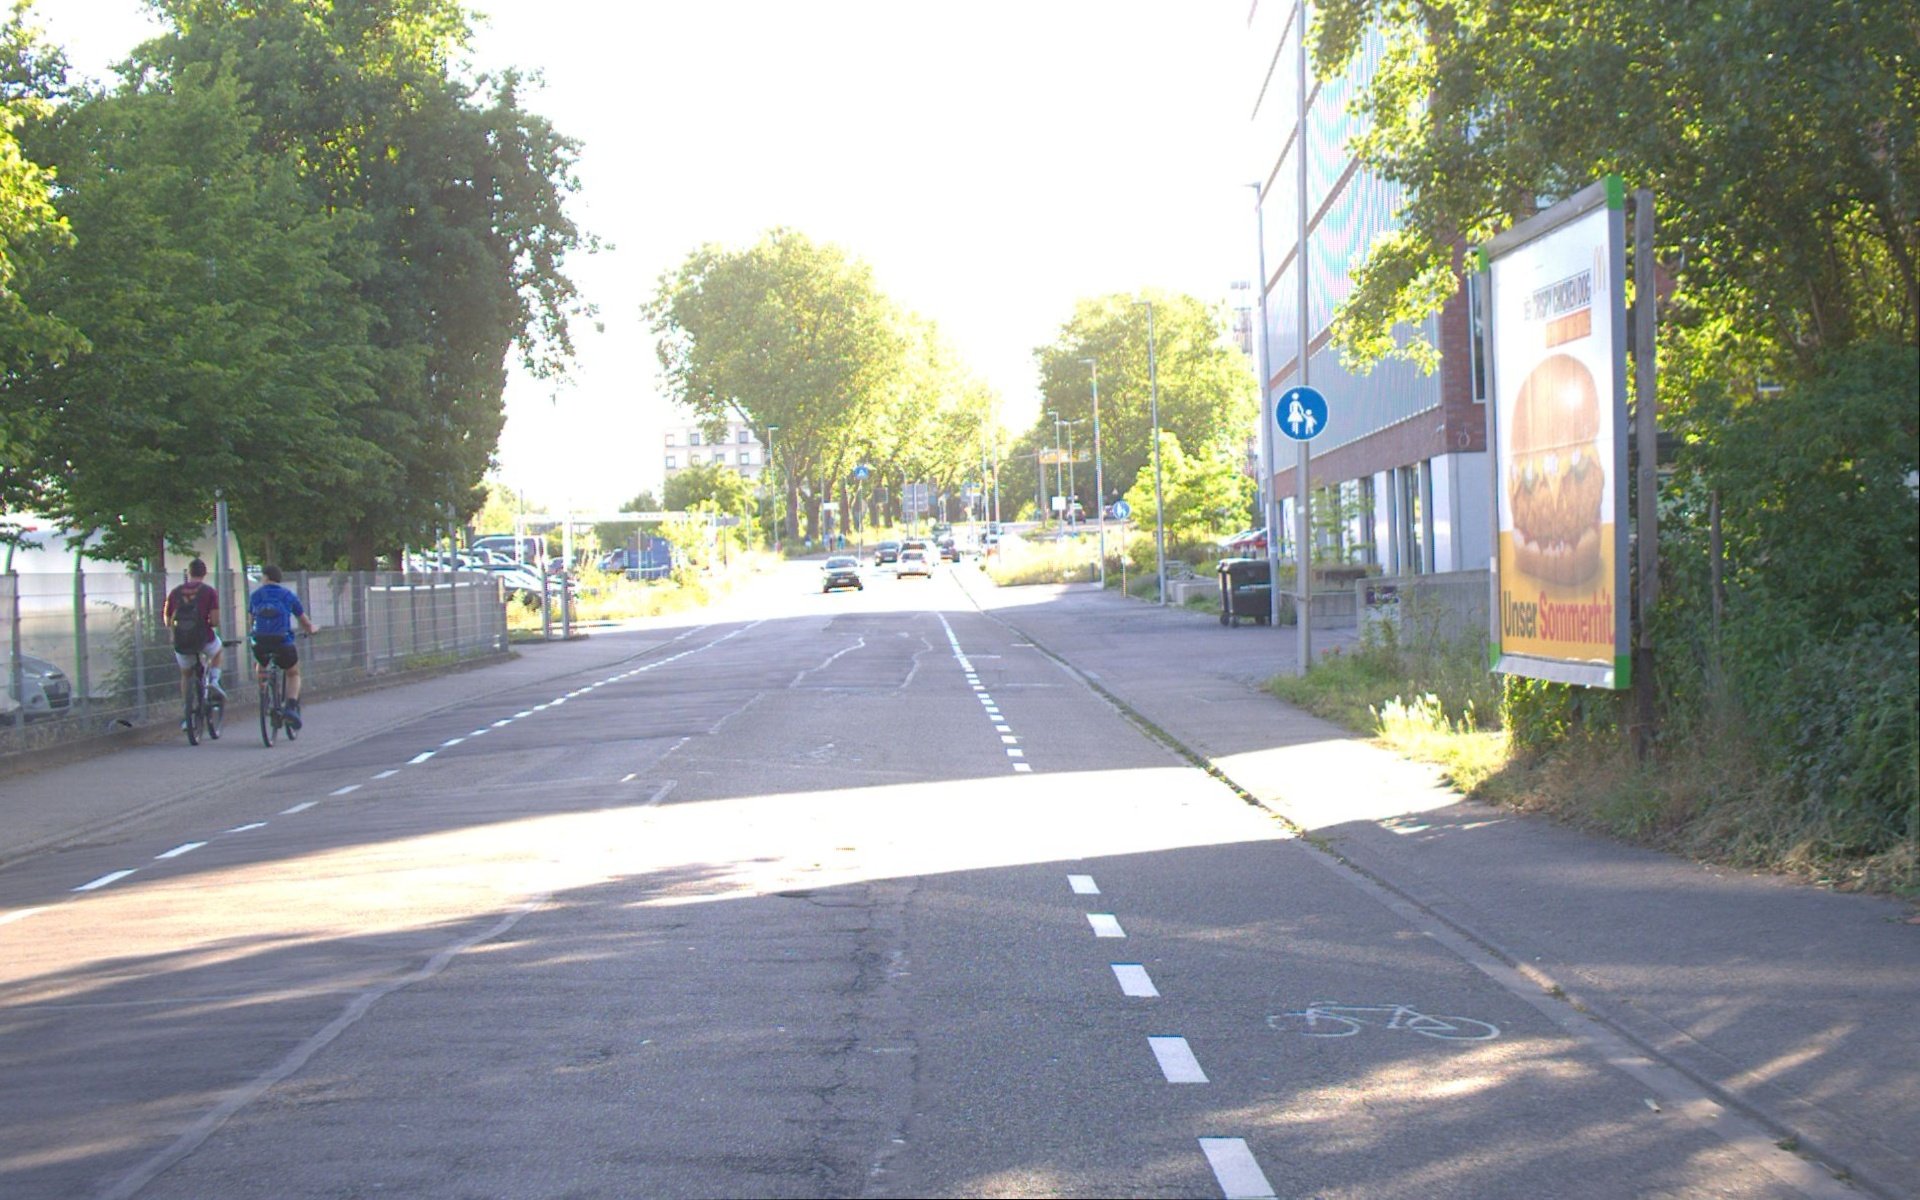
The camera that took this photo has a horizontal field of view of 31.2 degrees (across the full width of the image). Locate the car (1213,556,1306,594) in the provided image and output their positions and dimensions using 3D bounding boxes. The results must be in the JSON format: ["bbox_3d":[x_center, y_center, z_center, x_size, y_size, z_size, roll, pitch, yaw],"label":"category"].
[{"bbox_3d":[13.828,-1.159,158.739,4.184,1.575,1.851,-2,0,3],"label":"car"}]

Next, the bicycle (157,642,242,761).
[{"bbox_3d":[-7.696,1.012,34.852,0.470,1.144,1.869,0,0,-1],"label":"bicycle"}]

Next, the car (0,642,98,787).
[{"bbox_3d":[-11.788,1.384,38.279,3.889,1.506,1.786,-5,0,-3],"label":"car"}]

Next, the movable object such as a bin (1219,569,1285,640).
[{"bbox_3d":[5.829,0.085,68.757,1.128,1.367,1.345,-2,0,-1],"label":"movable object such as a bin"}]

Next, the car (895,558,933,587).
[{"bbox_3d":[-2.332,-1.397,173.973,1.790,1.415,4.000,-1,0,1],"label":"car"}]

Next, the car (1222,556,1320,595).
[{"bbox_3d":[13.711,-1.095,151.896,4.184,1.575,1.851,-2,0,3],"label":"car"}]

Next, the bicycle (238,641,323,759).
[{"bbox_3d":[-6.885,0.997,34.904,0.446,1.144,2.201,0,0,-1],"label":"bicycle"}]

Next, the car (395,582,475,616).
[{"bbox_3d":[-27.385,-0.053,179.336,3.882,1.598,1.878,-2,0,-1],"label":"car"}]

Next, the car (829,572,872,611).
[{"bbox_3d":[-4.778,-0.355,150.376,1.740,1.521,4.111,-5,0,-2],"label":"car"}]

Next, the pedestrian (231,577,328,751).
[{"bbox_3d":[-6.896,0.645,34.875,0.721,1.715,1.057,-2,0,-1],"label":"pedestrian"}]

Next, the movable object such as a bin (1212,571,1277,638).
[{"bbox_3d":[5.821,0.089,70.380,1.128,1.331,1.345,-2,0,-1],"label":"movable object such as a bin"}]

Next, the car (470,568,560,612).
[{"bbox_3d":[-26.896,-0.592,207.862,5.096,2.451,2.320,-2,0,-1],"label":"car"}]

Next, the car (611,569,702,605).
[{"bbox_3d":[-16.933,-0.729,191.856,4.845,1.828,2.000,-2,0,-1],"label":"car"}]

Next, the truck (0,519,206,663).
[{"bbox_3d":[-24.937,-0.159,89.244,10.097,3.602,2.776,-1,-1,-1],"label":"truck"}]

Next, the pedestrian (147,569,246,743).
[{"bbox_3d":[-7.733,0.559,34.861,0.721,1.715,1.057,-2,0,-1],"label":"pedestrian"}]

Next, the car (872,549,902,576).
[{"bbox_3d":[-4.452,-2.293,209.733,1.654,1.498,4.000,-3,-1,1],"label":"car"}]

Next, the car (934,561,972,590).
[{"bbox_3d":[-0.427,-1.505,209.290,2.163,1.678,4.000,-2,0,1],"label":"car"}]

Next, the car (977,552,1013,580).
[{"bbox_3d":[2.174,-2.121,214.779,2.163,1.678,4.000,-2,0,0],"label":"car"}]
